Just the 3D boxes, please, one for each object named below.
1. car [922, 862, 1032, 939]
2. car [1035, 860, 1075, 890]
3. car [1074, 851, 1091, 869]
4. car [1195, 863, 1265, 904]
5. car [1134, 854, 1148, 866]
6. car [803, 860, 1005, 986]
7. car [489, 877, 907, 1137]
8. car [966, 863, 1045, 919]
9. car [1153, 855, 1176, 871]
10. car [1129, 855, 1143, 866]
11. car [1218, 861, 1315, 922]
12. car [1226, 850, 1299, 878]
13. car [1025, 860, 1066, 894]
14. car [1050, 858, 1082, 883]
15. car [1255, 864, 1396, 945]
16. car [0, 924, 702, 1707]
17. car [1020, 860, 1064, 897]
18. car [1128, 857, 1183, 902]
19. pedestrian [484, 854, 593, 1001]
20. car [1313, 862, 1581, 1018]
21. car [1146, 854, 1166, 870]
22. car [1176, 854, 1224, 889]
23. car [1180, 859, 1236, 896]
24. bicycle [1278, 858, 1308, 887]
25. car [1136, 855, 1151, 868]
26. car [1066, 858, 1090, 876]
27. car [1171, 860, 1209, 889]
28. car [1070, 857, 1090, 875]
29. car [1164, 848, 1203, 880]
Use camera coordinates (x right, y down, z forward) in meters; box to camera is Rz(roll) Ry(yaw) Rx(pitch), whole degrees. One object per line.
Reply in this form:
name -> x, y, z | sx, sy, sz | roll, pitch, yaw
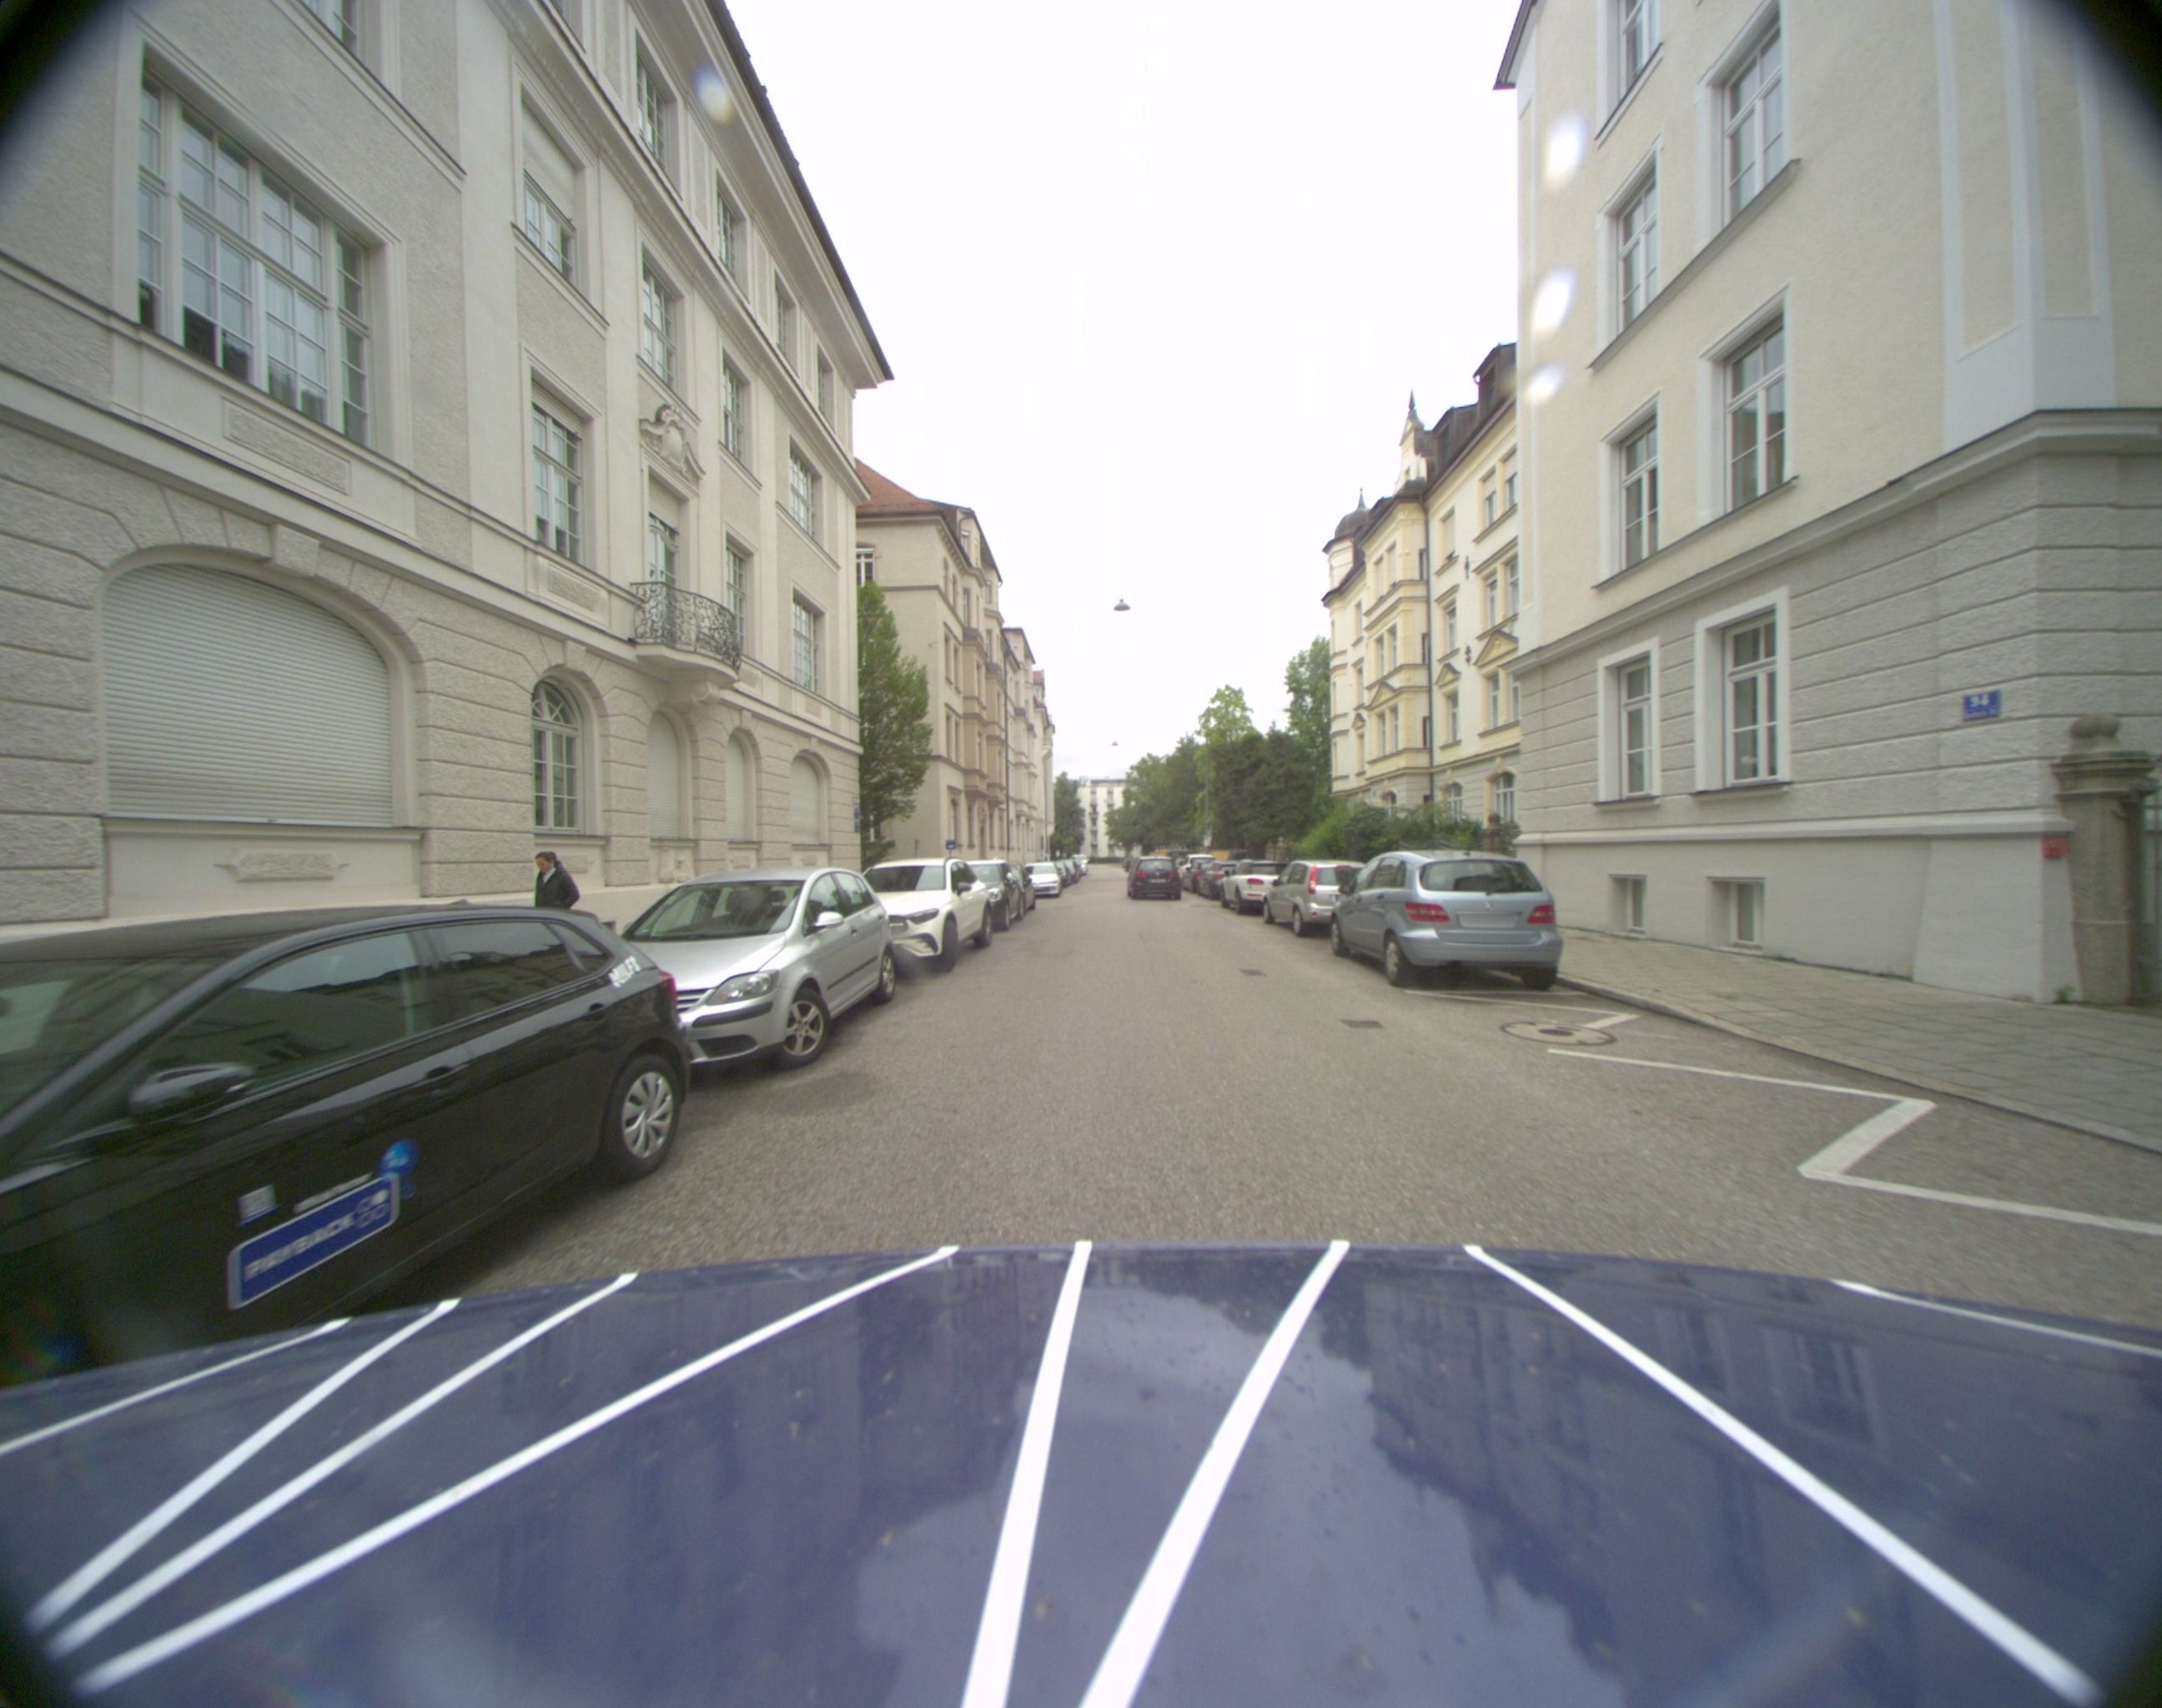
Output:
car -> -2.285, 0.982, 17.761 | 1.752, 1.516, 4.171 | -1, 0, 3
car -> -1.402, 1.151, 42.220 | 1.746, 1.390, 4.022 | -3, 1, 3
car -> 0.191, 0.706, 87.142 | 1.794, 1.926, 4.085 | -2, 0, 0
car -> 5.451, 1.046, 28.263 | 1.739, 1.357, 4.193 | 1, 0, 0
car -> 7.883, 0.839, 100.454 | 1.653, 1.552, 3.930 | 0, 0, 1
car -> -2.523, 0.927, 12.040 | 1.900, 1.626, 4.393 | -1, -1, 4
car -> -2.919, 1.045, 6.890 | 1.712, 1.492, 4.000 | -2, 0, 0
car -> -2.154, 1.032, 22.683 | 1.715, 1.443, 4.225 | -2, 0, 2
car -> 7.779, 0.834, 71.133 | 1.704, 1.483, 3.956 | 0, 0, 1
car -> 7.557, 0.869, 104.634 | 1.653, 1.552, 3.930 | 0, 0, 1
car -> 4.955, 0.956, 20.860 | 1.801, 1.426, 4.080 | -1, 0, 2
car -> 12.524, 0.668, 52.554 | 4.519, 1.847, 2.054 | -1, 0, -4
car -> -1.719, 1.116, 37.703 | 1.796, 1.489, 4.082 | -3, -1, -1
car -> -0.922, 0.992, 47.939 | 1.645, 1.409, 4.001 | -2, 0, 3
car -> 4.912, 0.945, 15.847 | 1.649, 1.395, 4.000 | 1, 0, 0
car -> -3.051, 1.119, 2.327 | 1.616, 1.387, 4.000 | -2, 0, 2
car -> -1.632, 1.023, 32.940 | 1.667, 1.498, 4.065 | -1, -1, 0
car -> 2.682, 0.880, 28.148 | 1.728, 1.525, 4.085 | 0, 0, 1
pedestrian -> -6.467, 0.842, 9.100 | 0.684, 1.669, 0.812 | 1, 0, 2
car -> 4.450, 0.921, 10.004 | 1.700, 1.571, 4.062 | 1, 0, 3
car -> 7.532, 0.803, 76.284 | 1.704, 1.552, 3.930 | 0, 0, 1
car -> 5.918, 0.845, 38.263 | 1.810, 1.638, 4.486 | 0, 0, 2
car -> 5.440, 0.985, 33.009 | 1.773, 1.412, 3.999 | -1, 1, 0
bicycle -> 9.620, 0.812, 34.585 | 0.757, 1.289, 2.531 | 0, 0, 3
car -> 7.835, 0.920, 95.177 | 1.653, 1.552, 3.930 | 0, 0, 1
car -> -0.210, 1.074, 63.333 | 1.714, 1.382, 4.001 | -2, 0, 3
car -> 6.050, 1.102, 42.600 | 1.646, 1.422, 3.919 | 2, 0, 1
car -> -0.082, 1.075, 68.119 | 1.715, 1.462, 4.085 | -2, 0, 0
car -> 6.328, 0.580, 47.349 | 1.916, 1.875, 4.817 | 0, 1, 2
